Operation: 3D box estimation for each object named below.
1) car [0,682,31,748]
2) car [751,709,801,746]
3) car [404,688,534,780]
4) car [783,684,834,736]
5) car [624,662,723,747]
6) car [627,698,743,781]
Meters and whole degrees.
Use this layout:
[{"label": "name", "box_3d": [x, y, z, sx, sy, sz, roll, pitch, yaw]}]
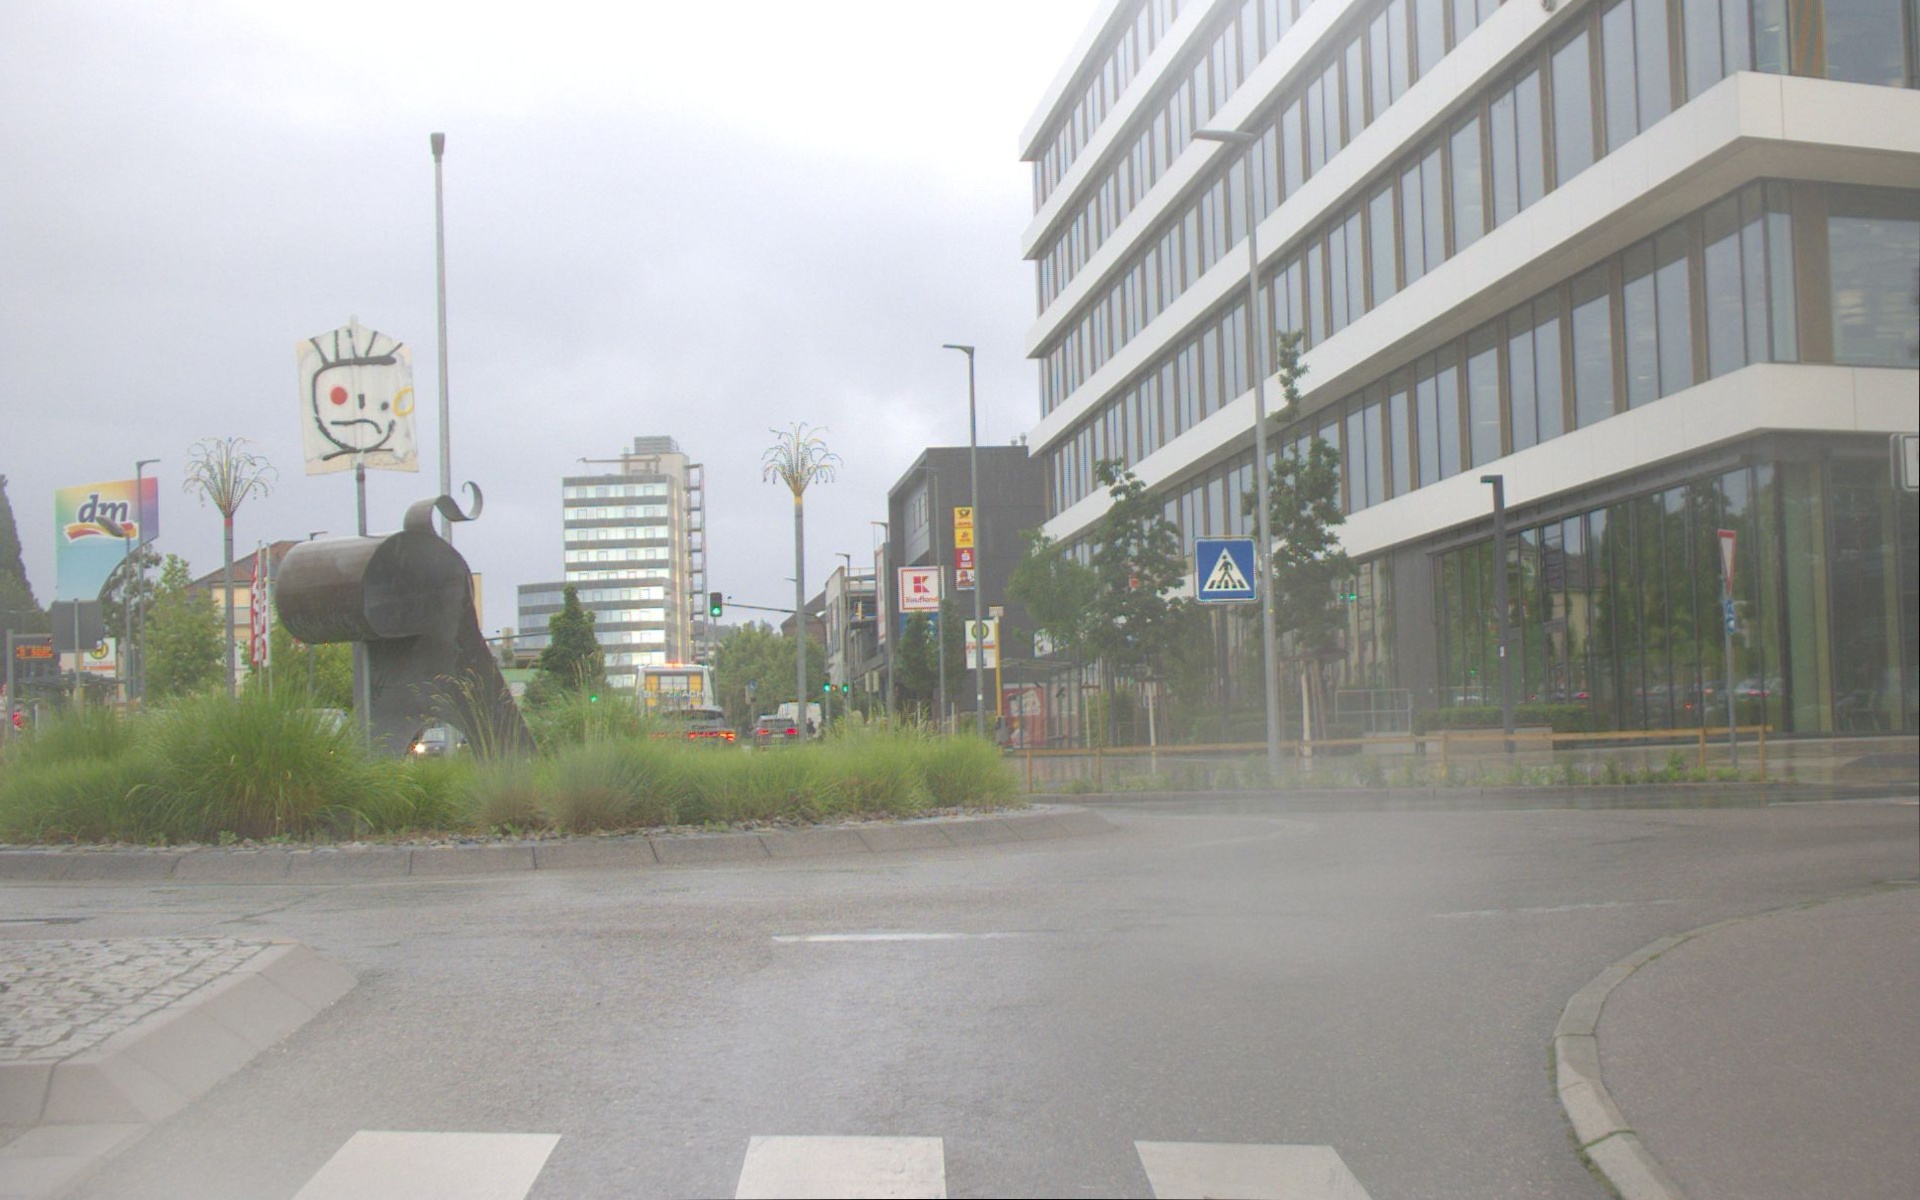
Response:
[{"label": "car", "box_3d": [-22.391, 2.518, 74.671, 4.021, 1.415, 1.768, 0, -3, -6]}, {"label": "car", "box_3d": [-7.384, 5.140, 138.332, 1.794, 1.405, 4.215, 0, -3, 0]}, {"label": "car", "box_3d": [-7.788, 2.153, 54.729, 1.595, 1.405, 3.499, 0, -3, 0]}, {"label": "car", "box_3d": [-6.537, 4.751, 149.037, 1.993, 2.007, 5.000, -1, 0, 0]}, {"label": "car", "box_3d": [-6.640, 2.455, 79.937, 1.993, 1.897, 3.999, 0, -3, 0]}, {"label": "car", "box_3d": [-4.830, 2.486, 60.809, 1.794, 1.405, 3.421, 0, -3, 0]}]
